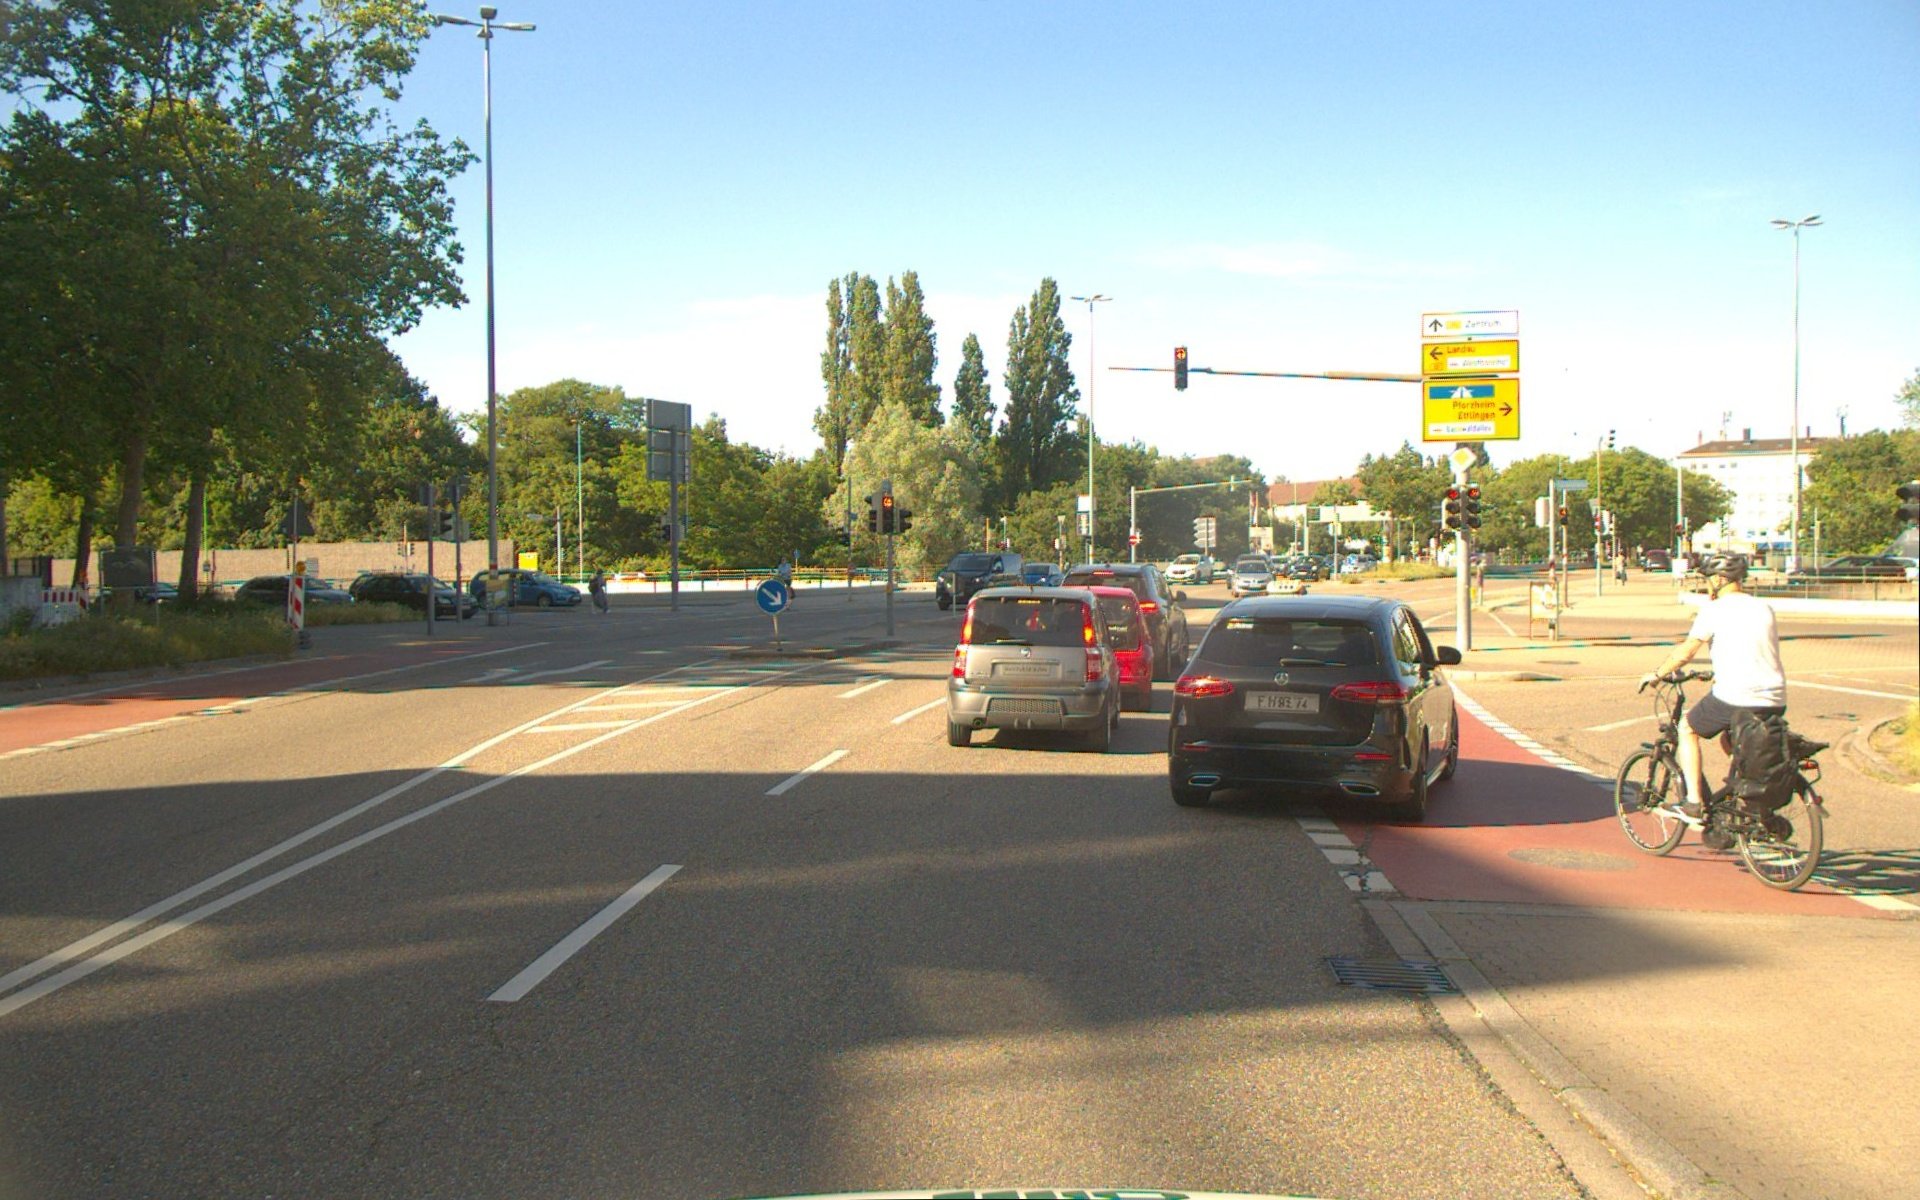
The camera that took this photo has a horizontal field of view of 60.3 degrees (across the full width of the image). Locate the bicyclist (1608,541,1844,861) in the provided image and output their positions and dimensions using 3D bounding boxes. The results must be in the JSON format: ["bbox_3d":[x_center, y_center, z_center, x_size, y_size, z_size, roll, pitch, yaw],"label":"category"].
[{"bbox_3d":[4.392,0.544,9.562,0.783,1.734,1.085,1,1,-3],"label":"bicyclist"}]

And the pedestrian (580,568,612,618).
[{"bbox_3d":[-12.170,-0.232,55.327,0.672,1.565,1.366,1,-3,2],"label":"pedestrian"}]

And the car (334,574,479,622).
[{"bbox_3d":[-17.611,-0.059,52.611,4.349,1.464,1.824,0,1,26],"label":"car"}]

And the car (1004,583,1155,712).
[{"bbox_3d":[1.645,0.534,21.616,1.781,1.505,4.003,0,1,7],"label":"car"}]

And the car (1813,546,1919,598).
[{"bbox_3d":[38.045,-1.134,69.107,3.929,2.049,1.987,0,-2,43],"label":"car"}]

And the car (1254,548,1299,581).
[{"bbox_3d":[16.025,-1.802,83.561,1.687,1.610,4.006,0,1,19],"label":"car"}]

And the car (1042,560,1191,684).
[{"bbox_3d":[2.643,0.270,27.025,1.829,1.821,4.418,1,2,13],"label":"car"}]

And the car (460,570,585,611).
[{"bbox_3d":[-16.522,-0.353,62.497,4.346,1.464,1.826,0,1,22],"label":"car"}]

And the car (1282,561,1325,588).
[{"bbox_3d":[19.712,-1.479,94.820,1.952,1.478,4.002,-1,1,19],"label":"car"}]

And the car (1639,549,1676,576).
[{"bbox_3d":[52.067,-2.788,123.470,1.957,1.825,3.990,0,-1,32],"label":"car"}]

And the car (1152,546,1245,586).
[{"bbox_3d":[11.797,-1.661,81.972,4.287,1.868,1.986,0,-2,45],"label":"car"}]

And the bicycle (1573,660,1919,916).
[{"bbox_3d":[4.395,0.980,9.423,0.783,1.130,2.401,1,1,-3],"label":"bicycle"}]

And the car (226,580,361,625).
[{"bbox_3d":[-22.723,0.092,56.395,4.349,1.464,1.824,0,1,26],"label":"car"}]

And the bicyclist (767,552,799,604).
[{"bbox_3d":[-6.071,-0.766,56.798,0.672,1.730,1.199,0,2,15],"label":"bicyclist"}]

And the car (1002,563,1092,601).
[{"bbox_3d":[3.721,-0.794,70.241,1.788,1.529,4.437,0,1,34],"label":"car"}]

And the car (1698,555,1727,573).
[{"bbox_3d":[71.858,-3.467,157.939,1.958,1.668,3.990,-1,1,32],"label":"car"}]

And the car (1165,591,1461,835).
[{"bbox_3d":[2.855,0.709,12.708,1.714,1.520,4.001,1,1,19],"label":"car"}]

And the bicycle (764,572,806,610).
[{"bbox_3d":[-6.017,-0.307,56.999,0.672,1.223,2.329,0,2,15],"label":"bicycle"}]

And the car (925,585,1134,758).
[{"bbox_3d":[0.838,0.637,17.182,1.781,1.515,4.004,1,1,8],"label":"car"}]

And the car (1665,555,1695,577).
[{"bbox_3d":[61.279,-2.864,140.649,1.956,1.825,3.994,-1,1,29],"label":"car"}]

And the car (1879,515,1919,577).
[{"bbox_3d":[44.045,-2.423,73.878,2.235,2.653,4.825,2,-1,-35],"label":"car"}]

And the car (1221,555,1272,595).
[{"bbox_3d":[12.062,-1.070,69.421,1.781,1.610,4.107,-1,1,14],"label":"car"}]

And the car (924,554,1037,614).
[{"bbox_3d":[0.768,-0.589,57.002,1.955,1.969,4.847,0,1,27],"label":"car"}]

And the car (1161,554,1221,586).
[{"bbox_3d":[12.818,-1.671,91.542,1.799,1.682,4.622,0,1,29],"label":"car"}]
